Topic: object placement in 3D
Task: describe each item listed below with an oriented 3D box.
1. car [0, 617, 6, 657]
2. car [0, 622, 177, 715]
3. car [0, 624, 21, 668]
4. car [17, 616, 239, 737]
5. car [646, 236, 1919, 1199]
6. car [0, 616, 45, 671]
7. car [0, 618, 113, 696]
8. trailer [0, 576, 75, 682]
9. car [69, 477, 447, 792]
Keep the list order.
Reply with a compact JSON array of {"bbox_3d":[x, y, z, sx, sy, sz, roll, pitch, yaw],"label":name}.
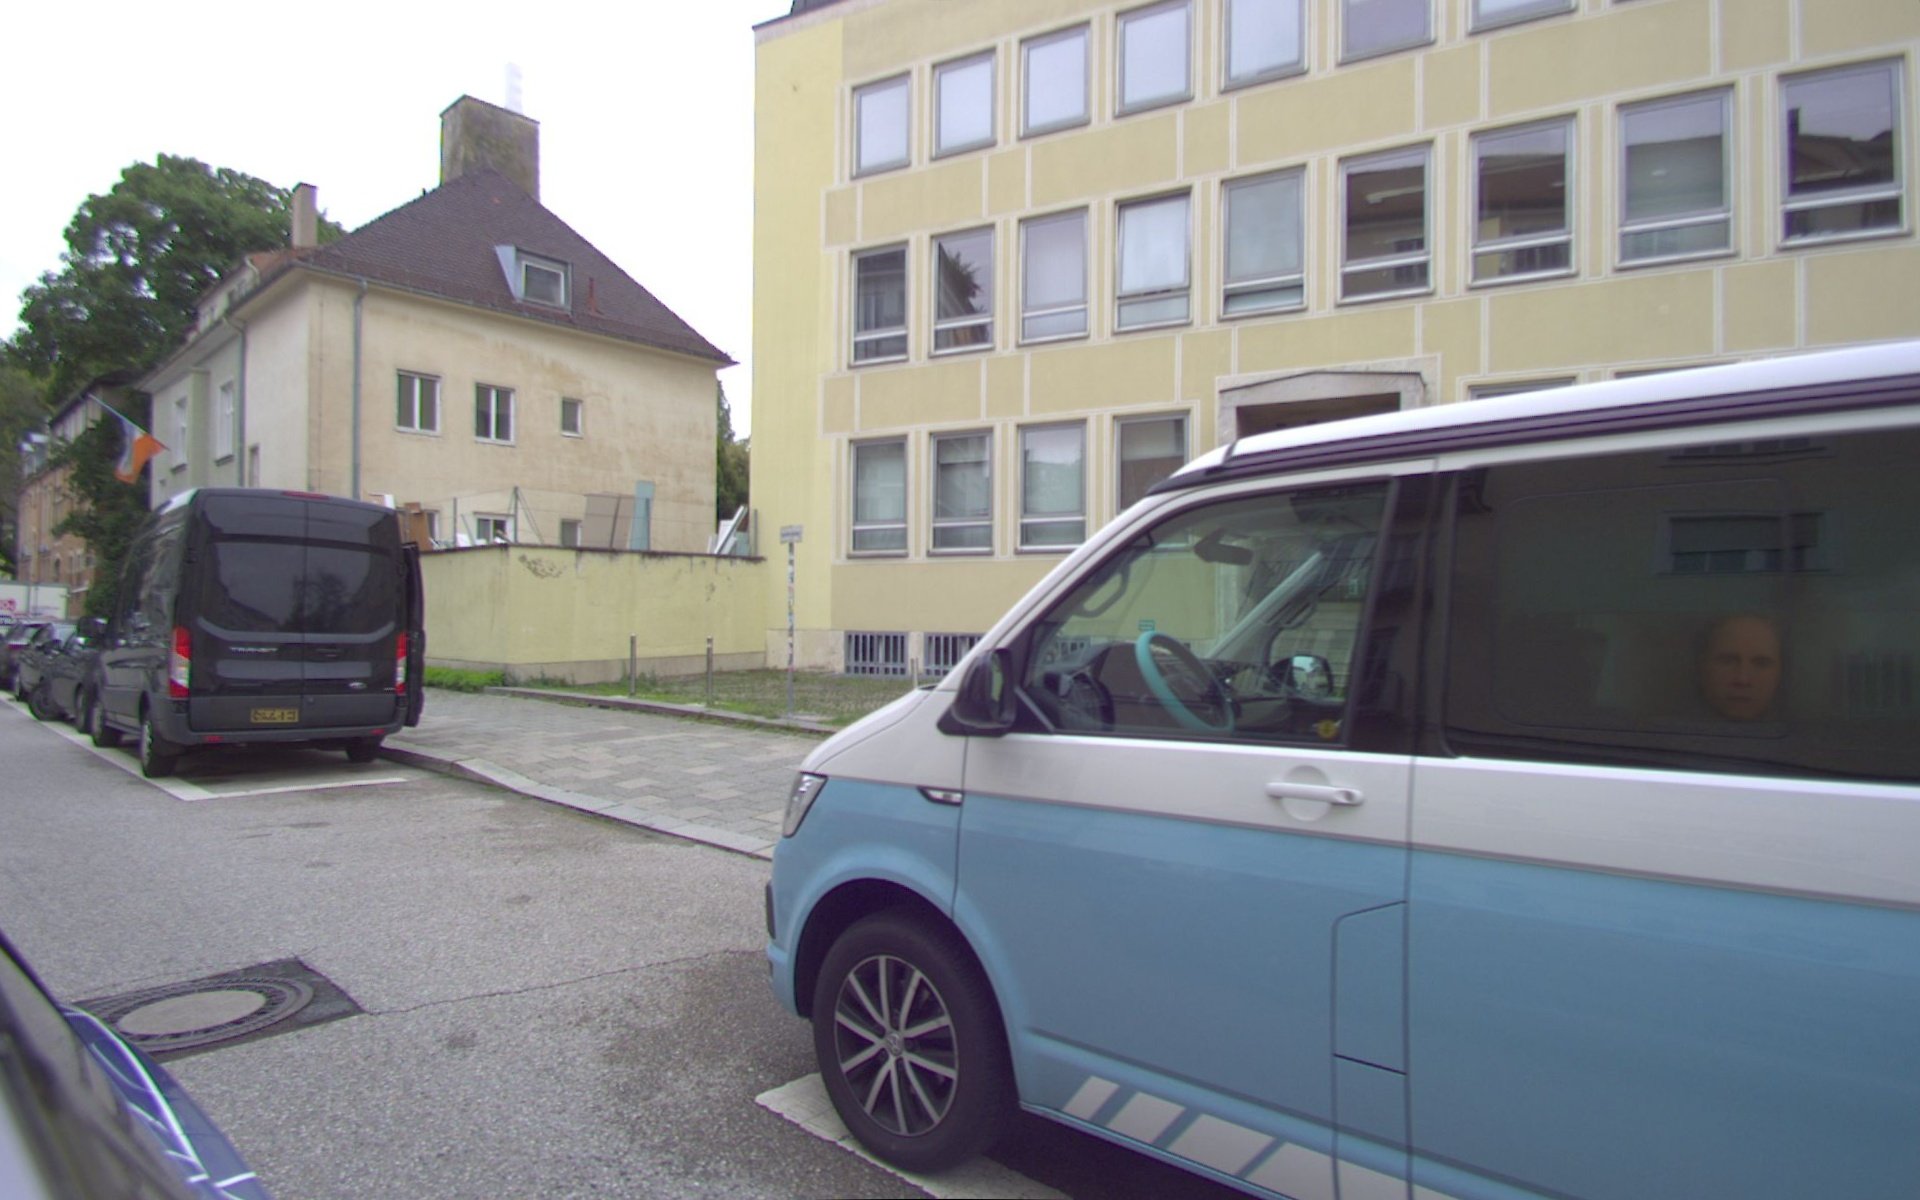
[{"bbox_3d":[-36.722,1.354,37.375,3.926,1.463,1.794,-1,-1,41],"label":"car"},{"bbox_3d":[-15.369,1.119,17.763,4.066,1.436,1.676,-1,-2,39],"label":"car"},{"bbox_3d":[-31.994,1.471,32.970,3.746,1.357,1.793,-1,-1,43],"label":"car"},{"bbox_3d":[-11.952,0.991,14.486,3.484,1.505,1.686,-1,-1,37],"label":"car"},{"bbox_3d":[1.538,0.515,2.474,5.016,1.994,1.909,-1,-2,39],"label":"car"},{"bbox_3d":[-28.065,1.232,29.448,3.841,1.525,1.744,-1,-2,42],"label":"car"},{"bbox_3d":[-19.982,1.162,22.048,4.644,1.511,1.793,-1,-2,43],"label":"car"},{"bbox_3d":[-24.064,0.736,25.938,1.792,2.555,3.392,6,-4,-43],"label":"trailer"},{"bbox_3d":[-8.060,0.361,11.339,5.653,2.666,2.272,-1,-3,43],"label":"car"}]
